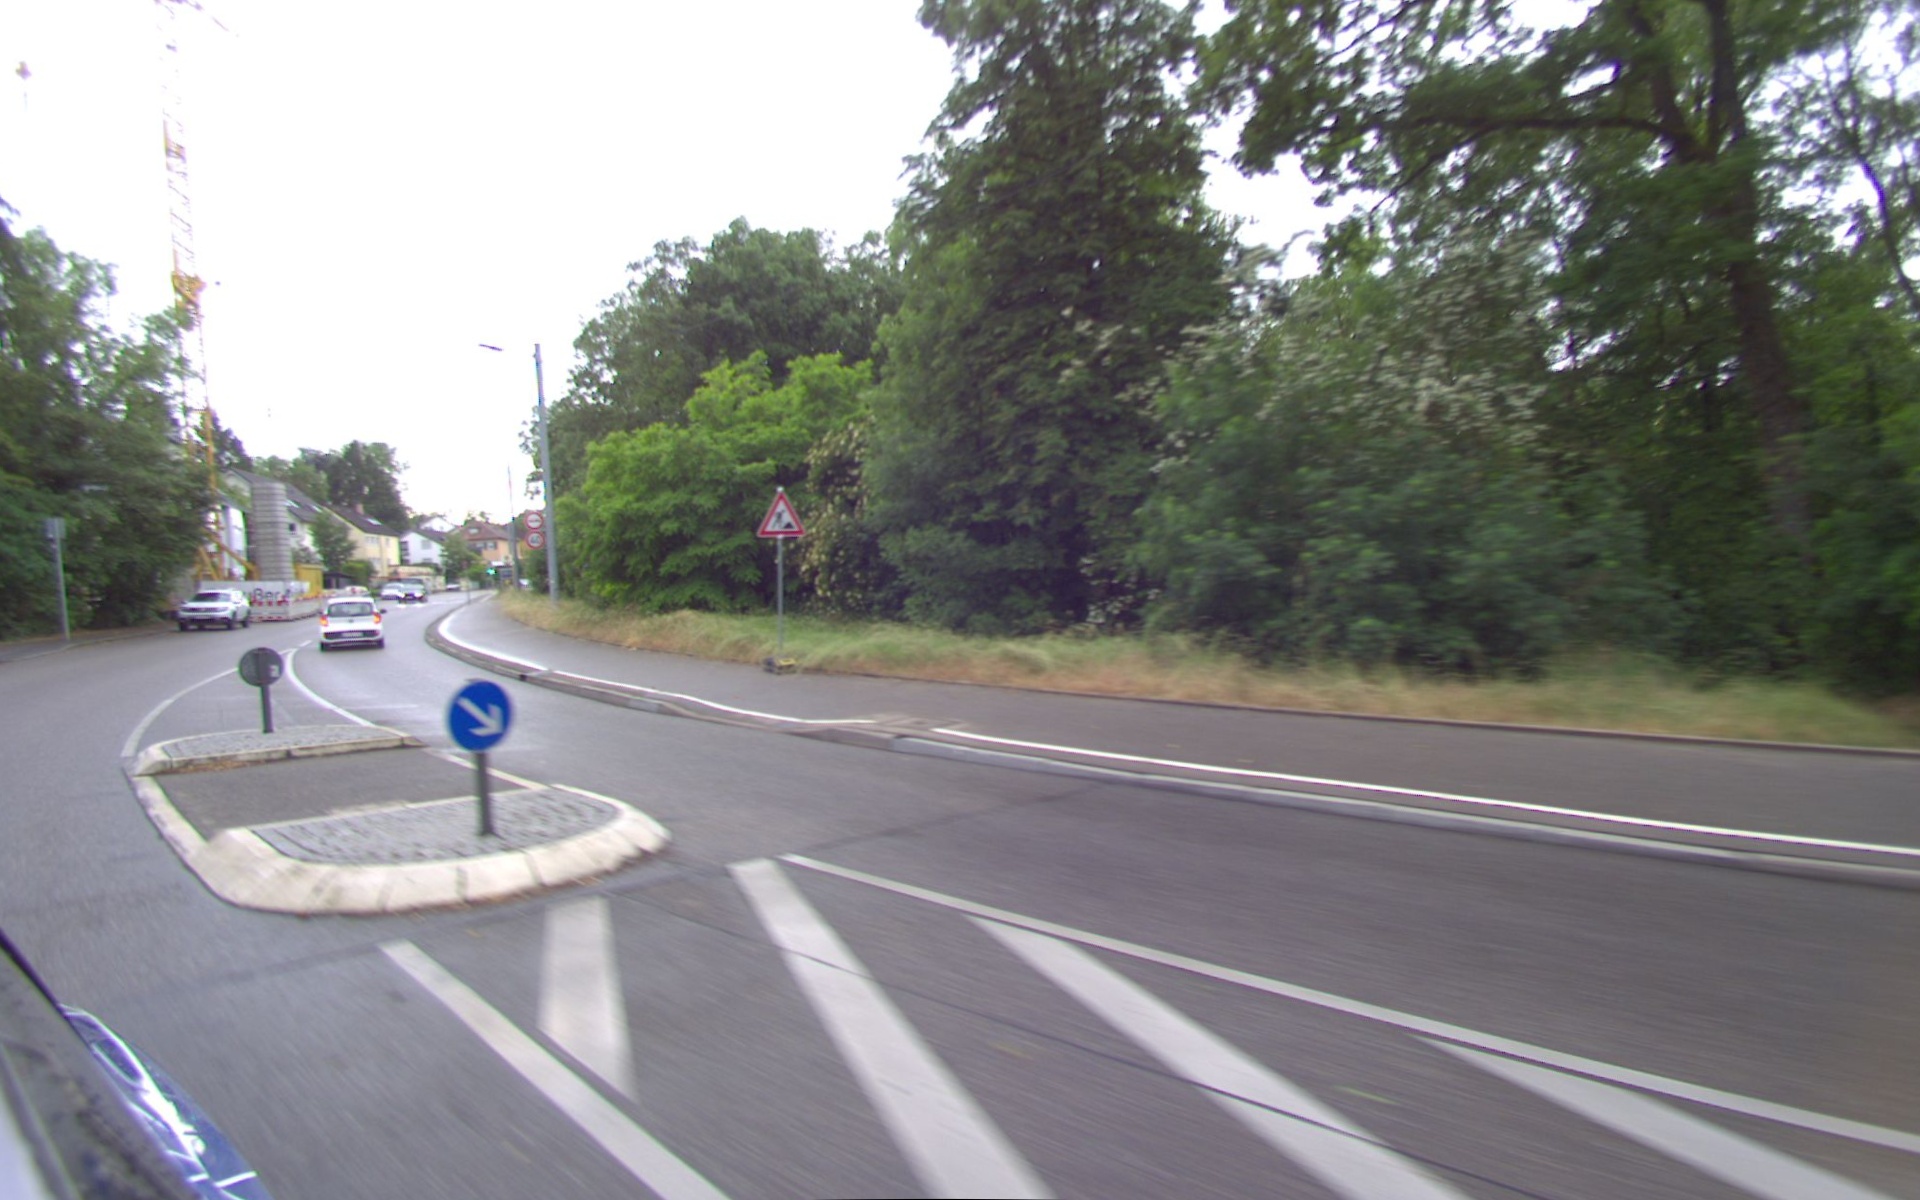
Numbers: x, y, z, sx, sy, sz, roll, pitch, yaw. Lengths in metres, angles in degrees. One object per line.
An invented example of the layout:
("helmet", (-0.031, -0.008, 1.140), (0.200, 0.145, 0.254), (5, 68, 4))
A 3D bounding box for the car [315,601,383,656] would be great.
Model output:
("car", (-18.021, 0.790, 29.963), (1.609, 1.465, 3.814), (-2, 1, -30))

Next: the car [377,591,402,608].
("car", (-53.260, -0.081, 94.590), (1.708, 1.501, 4.013), (0, 1, -25))

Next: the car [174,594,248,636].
("car", (-30.456, 0.568, 41.266), (1.801, 1.607, 4.013), (0, 0, -28))

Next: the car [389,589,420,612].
("car", (-44.186, 0.046, 80.589), (1.965, 1.730, 4.013), (0, -1, -26))
